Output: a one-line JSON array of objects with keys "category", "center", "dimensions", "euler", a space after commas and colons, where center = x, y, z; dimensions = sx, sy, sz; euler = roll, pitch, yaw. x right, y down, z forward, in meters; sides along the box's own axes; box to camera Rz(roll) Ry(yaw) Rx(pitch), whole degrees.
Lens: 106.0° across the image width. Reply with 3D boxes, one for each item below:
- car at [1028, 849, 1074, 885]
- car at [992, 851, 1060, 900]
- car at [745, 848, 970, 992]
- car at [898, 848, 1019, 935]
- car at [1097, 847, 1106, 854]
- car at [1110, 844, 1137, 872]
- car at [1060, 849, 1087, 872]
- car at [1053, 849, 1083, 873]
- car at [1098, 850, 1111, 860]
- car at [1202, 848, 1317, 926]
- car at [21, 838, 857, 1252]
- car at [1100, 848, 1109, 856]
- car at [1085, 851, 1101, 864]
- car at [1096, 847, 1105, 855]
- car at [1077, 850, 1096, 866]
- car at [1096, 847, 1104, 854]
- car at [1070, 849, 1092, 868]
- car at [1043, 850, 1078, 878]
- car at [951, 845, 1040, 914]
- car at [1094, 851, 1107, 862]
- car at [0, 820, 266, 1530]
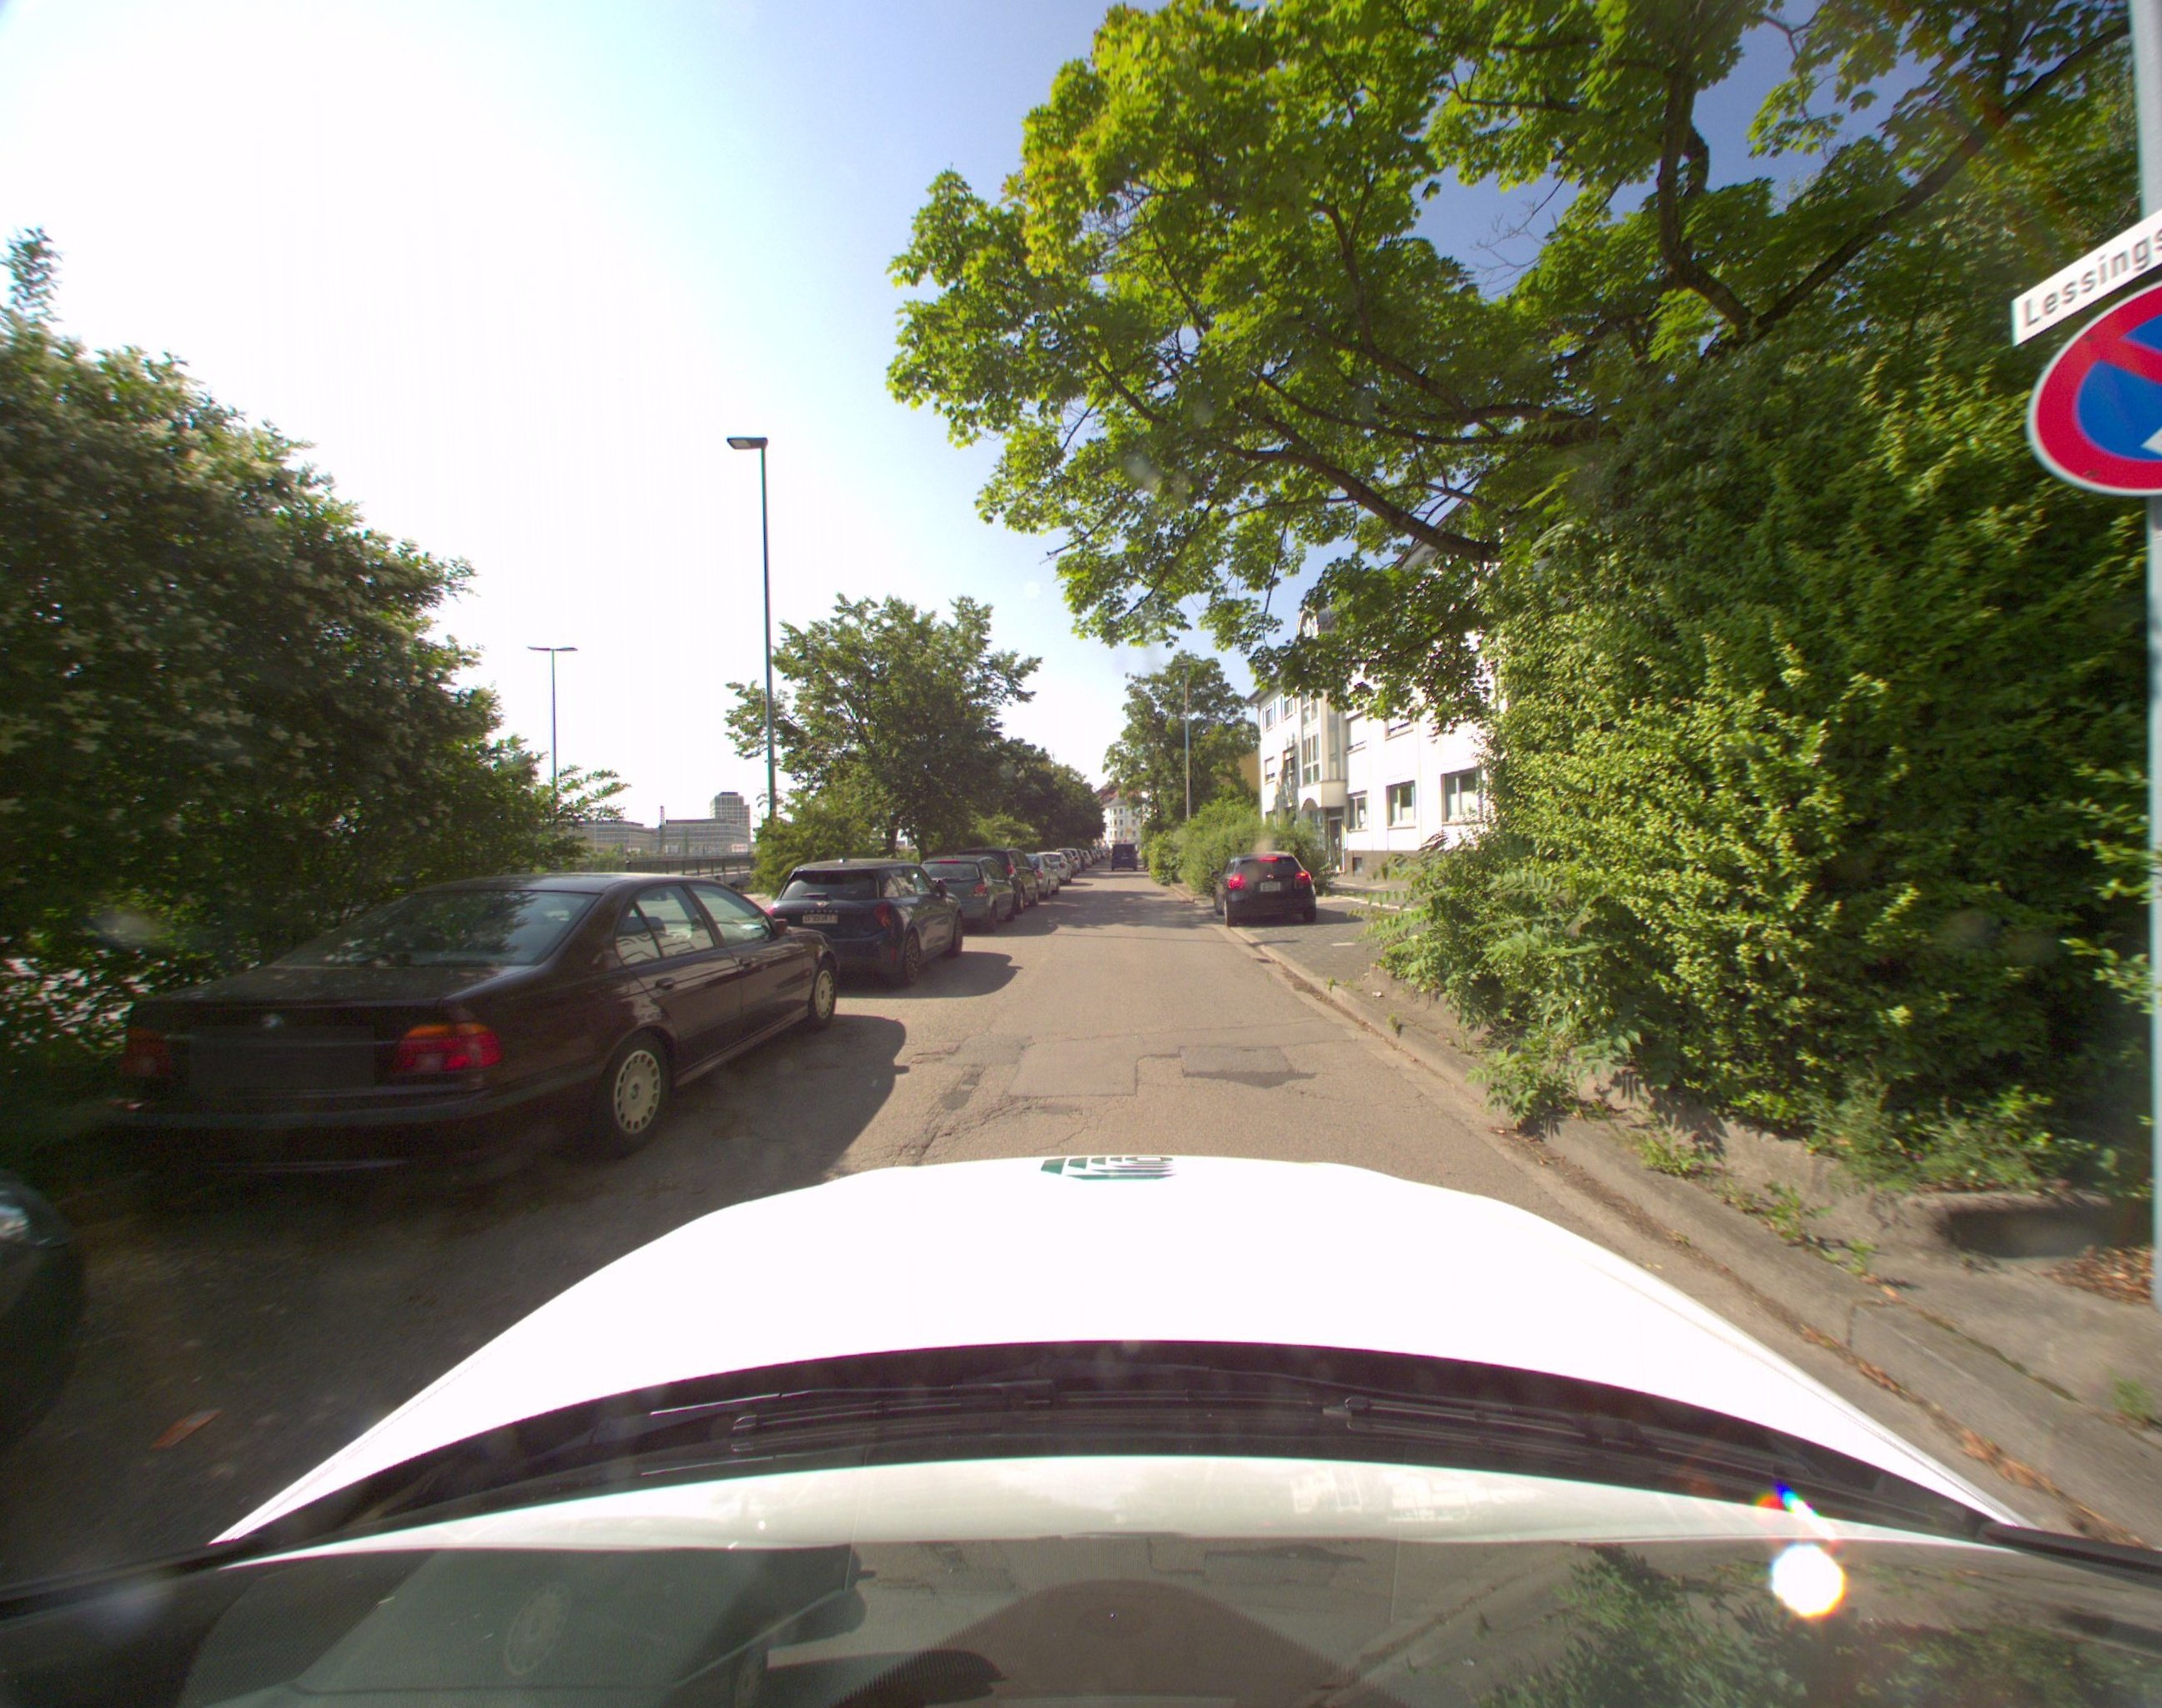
[{"category": "car", "center": [-1.288, 0.544, 36.709], "dimensions": [1.657, 1.468, 4.204], "euler": [1, 1, 3]}, {"category": "car", "center": [-1.689, 0.622, 26.303], "dimensions": [1.657, 1.406, 4.323], "euler": [1, 1, 3]}, {"category": "car", "center": [-2.634, 0.688, 10.532], "dimensions": [1.657, 1.473, 3.793], "euler": [1, 1, 3]}, {"category": "car", "center": [-2.342, 0.657, 16.468], "dimensions": [1.657, 1.511, 3.793], "euler": [1, 1, 3]}, {"category": "car", "center": [4.903, -0.791, 196.240], "dimensions": [1.986, 1.657, 3.742], "euler": [-1, 0, 2]}, {"category": "car", "center": [3.127, 0.232, 59.286], "dimensions": [1.875, 1.921, 4.012], "euler": [1, 1, 3]}, {"category": "car", "center": [-0.486, 0.426, 58.394], "dimensions": [1.657, 1.509, 4.012], "euler": [1, 1, 3]}, {"category": "car", "center": [-0.829, 0.430, 53.062], "dimensions": [1.657, 1.509, 4.012], "euler": [1, 1, 3]}, {"category": "car", "center": [3.866, 0.144, 132.466], "dimensions": [1.986, 1.657, 4.002], "euler": [-1, 0, 2]}, {"category": "car", "center": [3.690, 0.622, 17.493], "dimensions": [1.720, 1.420, 4.003], "euler": [-2, 0, 2]}, {"category": "car", "center": [-3.069, 0.689, 5.364], "dimensions": [1.657, 1.511, 4.598], "euler": [1, 1, 3]}, {"category": "car", "center": [5.063, -0.511, 175.334], "dimensions": [1.986, 1.657, 4.002], "euler": [-1, 0, 2]}, {"category": "car", "center": [1.441, 0.385, 97.056], "dimensions": [1.657, 1.509, 4.011], "euler": [0, 0, 3]}, {"category": "car", "center": [4.569, -0.650, 187.388], "dimensions": [1.986, 1.657, 4.002], "euler": [-1, 0, 2]}, {"category": "car", "center": [0.579, 0.337, 80.480], "dimensions": [1.657, 1.509, 4.012], "euler": [1, 1, 3]}, {"category": "car", "center": [4.725, -0.839, 200.458], "dimensions": [1.986, 1.657, 3.742], "euler": [-1, 0, 2]}, {"category": "car", "center": [0.003, 0.348, 69.481], "dimensions": [1.657, 1.509, 4.012], "euler": [1, 1, 3]}, {"category": "car", "center": [-1.163, 0.555, 47.294], "dimensions": [1.657, 1.509, 4.204], "euler": [-1, 0, 3]}, {"category": "car", "center": [-2.102, 0.567, 21.029], "dimensions": [1.657, 1.583, 3.935], "euler": [1, 1, 3]}, {"category": "car", "center": [2.935, 0.329, 122.685], "dimensions": [1.986, 1.657, 4.002], "euler": [-1, 0, 2]}, {"category": "car", "center": [-3.155, 0.674, 0.307], "dimensions": [1.657, 1.474, 3.880], "euler": [0, 0, 3]}]
